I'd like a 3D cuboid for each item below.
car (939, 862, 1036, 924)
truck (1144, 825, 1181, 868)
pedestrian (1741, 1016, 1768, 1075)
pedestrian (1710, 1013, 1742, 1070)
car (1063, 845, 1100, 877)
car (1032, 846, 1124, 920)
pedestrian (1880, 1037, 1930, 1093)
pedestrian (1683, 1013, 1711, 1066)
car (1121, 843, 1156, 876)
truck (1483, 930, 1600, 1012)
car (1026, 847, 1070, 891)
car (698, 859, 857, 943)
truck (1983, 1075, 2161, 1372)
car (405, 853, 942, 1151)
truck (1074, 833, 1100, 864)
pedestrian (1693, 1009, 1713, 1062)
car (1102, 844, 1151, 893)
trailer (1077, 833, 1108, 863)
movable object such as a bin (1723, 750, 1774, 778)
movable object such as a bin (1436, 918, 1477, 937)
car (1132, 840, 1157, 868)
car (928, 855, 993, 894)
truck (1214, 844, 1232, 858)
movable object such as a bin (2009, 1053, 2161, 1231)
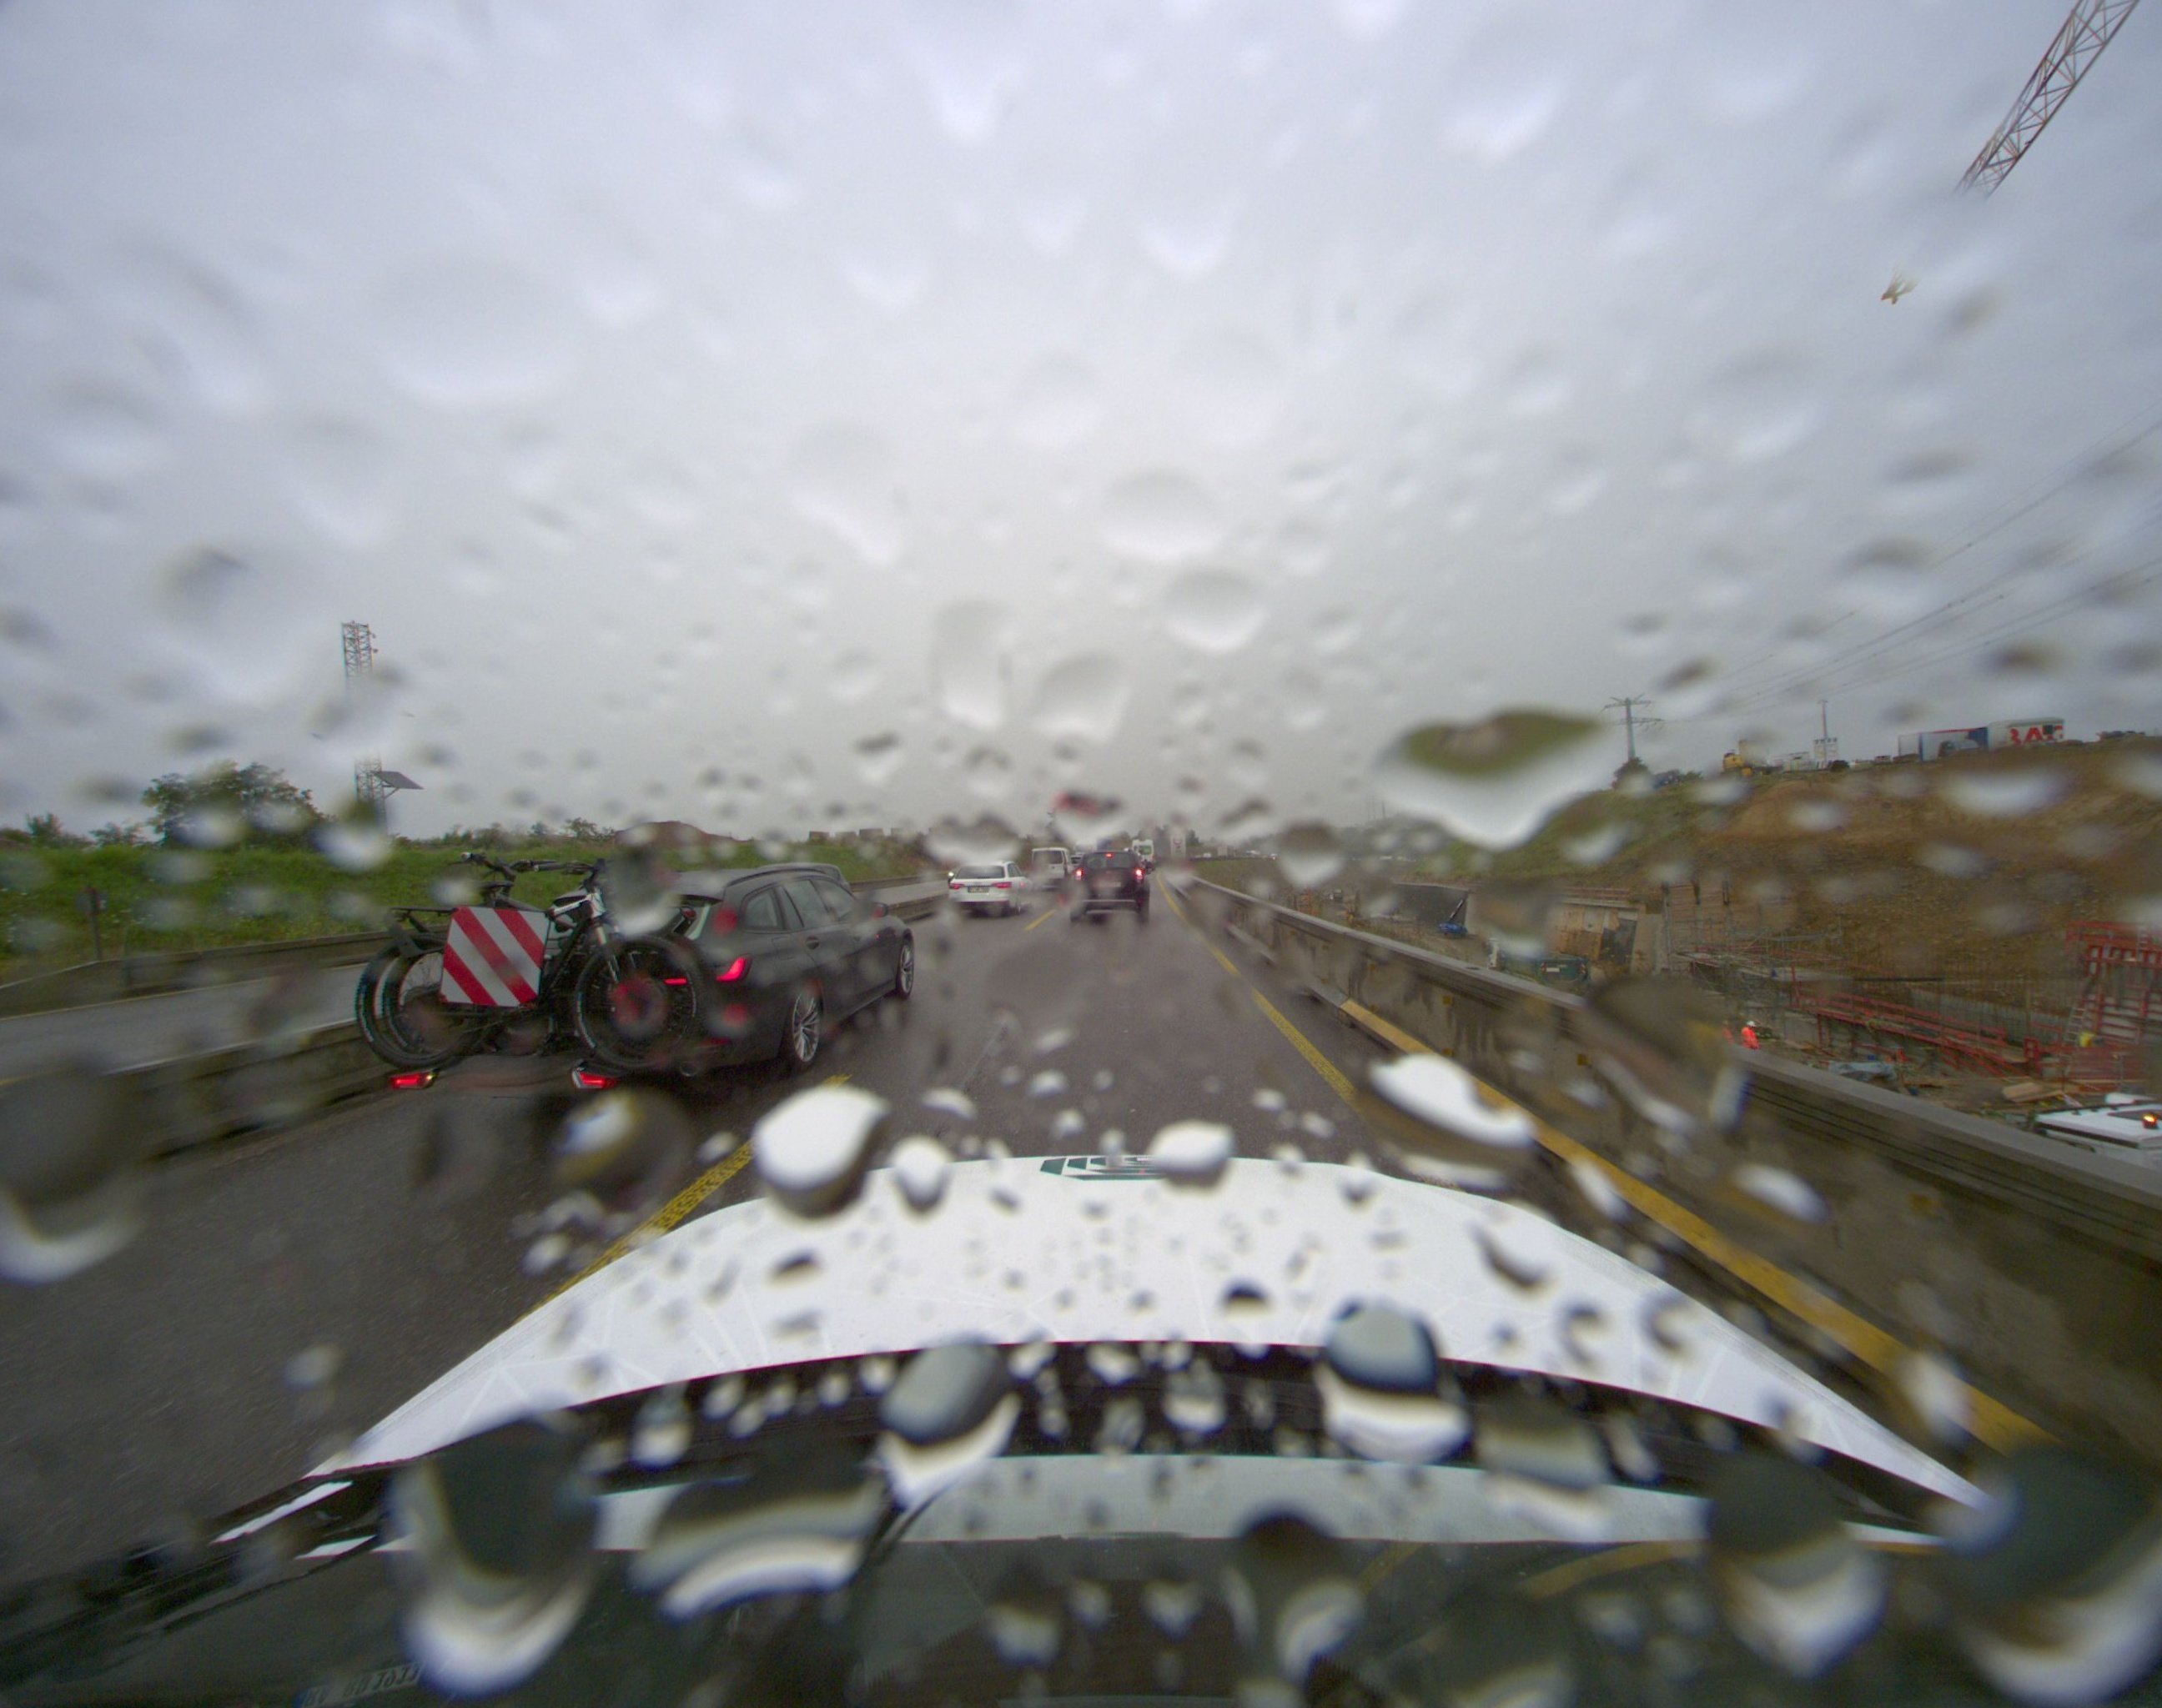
[{"bbox_3d":[-2.386,0.967,21.828,1.818,1.499,4.005,0,-1,5],"label":"car"},{"bbox_3d":[10.270,-0.847,101.575,3.521,5.077,10.473,0,-1,11],"label":"truck"},{"bbox_3d":[24.676,6.989,29.827,0.726,1.944,0.579,-1,-1,41],"label":"pedestrian"},{"bbox_3d":[24.101,6.999,30.445,0.576,1.944,0.729,0,-1,-25],"label":"pedestrian"},{"bbox_3d":[0.087,0.403,48.550,1.817,1.815,4.006,0,-1,6],"label":"car"},{"bbox_3d":[0.042,0.656,19.536,1.817,1.591,4.005,0,-1,5],"label":"car"},{"bbox_3d":[34.385,8.789,33.980,0.891,1.999,0.907,10,0,7],"label":"pedestrian"},{"bbox_3d":[23.669,7.109,31.316,0.570,1.869,0.737,-1,-1,10],"label":"pedestrian"},{"bbox_3d":[3.416,0.324,47.840,1.817,1.815,4.007,0,-1,7],"label":"car"},{"bbox_3d":[26.144,6.501,46.823,2.714,3.491,9.085,0,-1,8],"label":"truck"},{"bbox_3d":[-1.408,0.653,36.213,1.821,1.815,3.998,0,-1,-1],"label":"car"},{"bbox_3d":[-5.957,0.856,16.470,1.659,1.466,3.734,0,0,2],"label":"car"},{"bbox_3d":[16.186,5.417,9.161,2.687,3.503,8.959,0,-1,5],"label":"truck"},{"bbox_3d":[-2.684,0.803,7.222,1.728,1.462,5.633,-1,1,2],"label":"car"},{"bbox_3d":[0.834,-0.754,108.877,2.773,4.034,5.831,0,1,7],"label":"truck"},{"bbox_3d":[24.380,7.114,31.940,0.568,1.869,0.740,-1,-1,40],"label":"pedestrian"},{"bbox_3d":[1.798,0.570,32.512,1.819,1.815,4.002,0,-1,2],"label":"car"},{"bbox_3d":[1.765,-0.871,115.852,2.764,4.034,13.770,0,1,7],"label":"trailer"},{"bbox_3d":[67.395,-9.035,82.298,2.413,2.443,3.981,0,1,11],"label":"movable object such as a bin"},{"bbox_3d":[43.562,8.513,94.486,2.007,2.014,3.801,3,-4,-33],"label":"movable object such as a bin"},{"bbox_3d":[5.742,-0.007,73.607,1.815,2.437,4.169,0,-1,10],"label":"car"},{"bbox_3d":[-5.204,0.836,35.849,1.910,1.585,4.898,0,0,3],"label":"car"},{"bbox_3d":[38.524,-0.916,220.092,3.444,3.715,8.457,-2,0,18],"label":"truck"},{"bbox_3d":[22.118,5.779,16.527,3.136,2.738,2.971,0,-1,3],"label":"movable object such as a bin"}]
